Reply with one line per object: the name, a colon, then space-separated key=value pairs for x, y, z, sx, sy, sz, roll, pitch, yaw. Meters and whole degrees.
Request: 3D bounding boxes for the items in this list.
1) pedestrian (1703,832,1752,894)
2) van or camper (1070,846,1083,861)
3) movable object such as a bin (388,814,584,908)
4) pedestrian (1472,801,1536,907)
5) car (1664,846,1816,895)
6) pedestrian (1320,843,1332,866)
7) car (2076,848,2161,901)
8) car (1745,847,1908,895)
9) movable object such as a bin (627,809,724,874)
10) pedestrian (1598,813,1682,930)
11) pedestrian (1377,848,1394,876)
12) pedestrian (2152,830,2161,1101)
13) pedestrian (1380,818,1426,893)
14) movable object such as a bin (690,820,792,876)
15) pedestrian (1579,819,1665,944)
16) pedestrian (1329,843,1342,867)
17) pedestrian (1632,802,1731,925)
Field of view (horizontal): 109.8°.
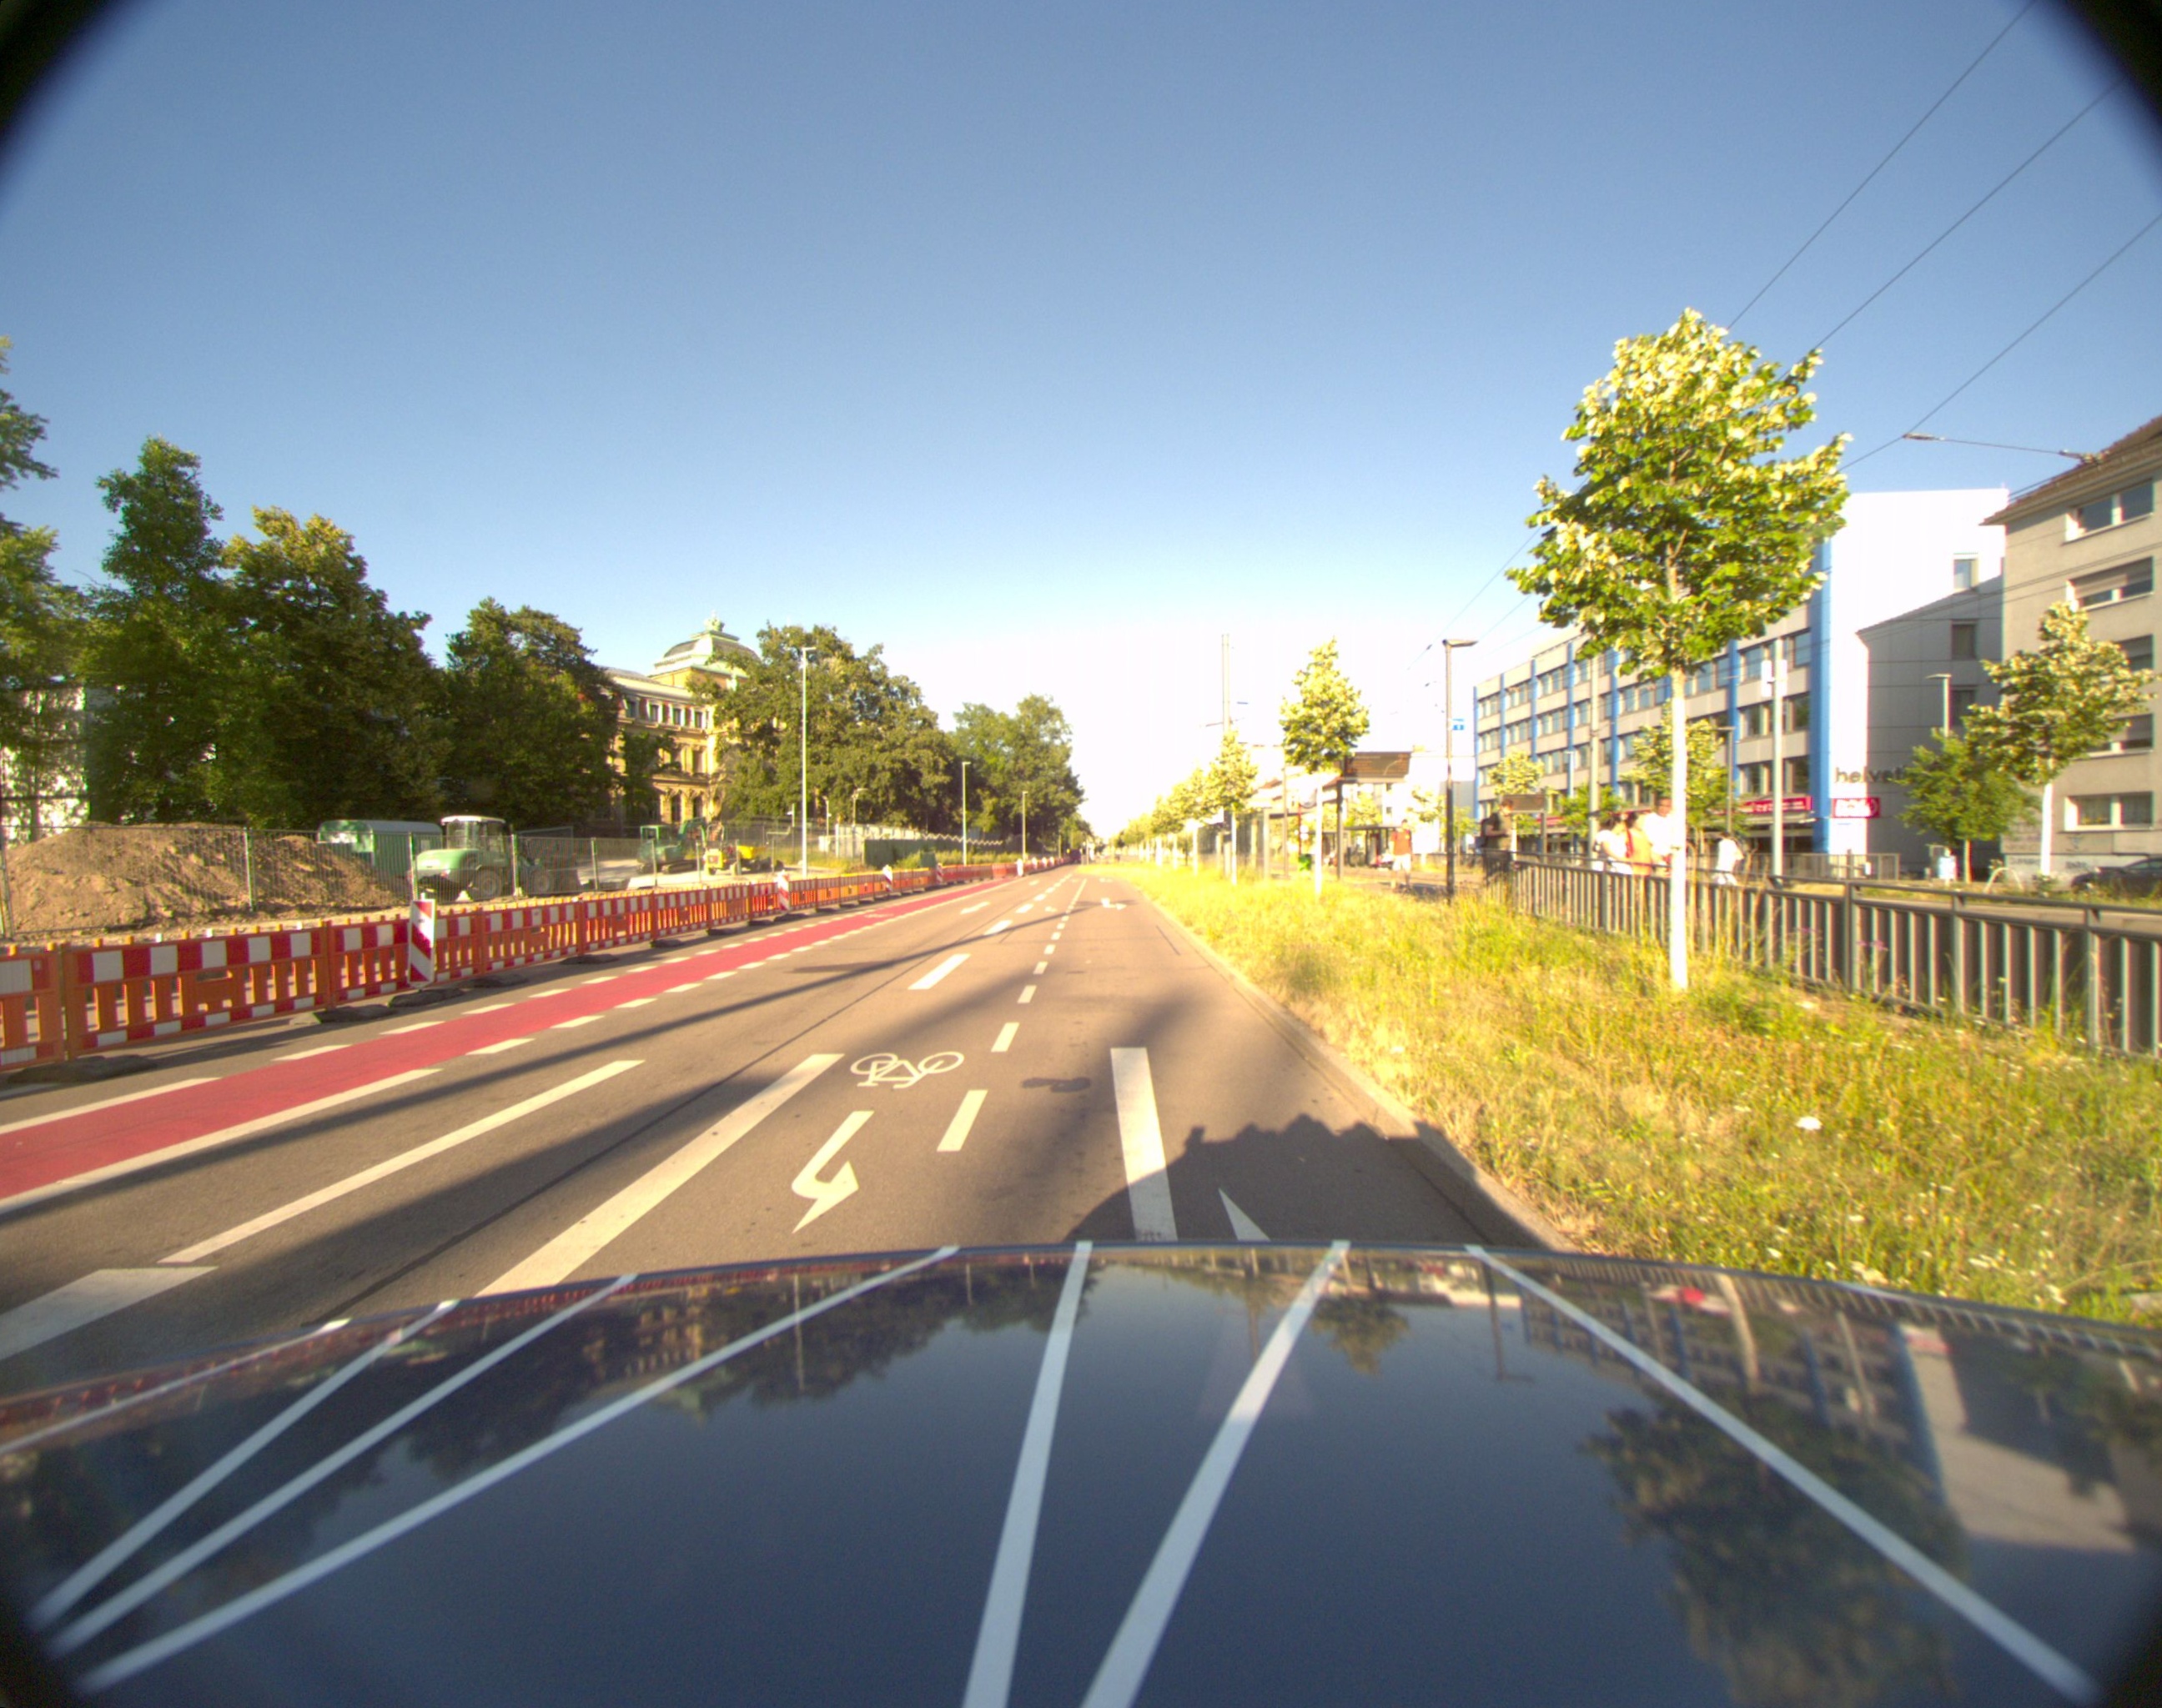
pedestrian: x=17.751 y=0.238 z=20.878 sx=0.787 sy=1.663 sz=0.619 roll=-2 pitch=1 yaw=4
van or camper: x=-0.697 y=-0.164 z=130.605 sx=1.998 sy=2.514 sz=5.913 roll=-2 pitch=1 yaw=1
movable object such as a bin: x=-19.048 y=0.172 z=24.732 sx=1.998 sy=2.668 sz=5.015 roll=-2 pitch=1 yaw=5
pedestrian: x=7.673 y=0.003 z=13.819 sx=0.787 sy=1.853 sz=0.619 roll=-2 pitch=1 yaw=4
car: x=22.816 y=0.518 z=26.539 sx=1.886 sy=1.499 sz=3.942 roll=-2 pitch=1 yaw=1
pedestrian: x=18.660 y=0.053 z=57.860 sx=0.659 sy=1.682 sz=0.772 roll=-2 pitch=1 yaw=4
car: x=33.133 y=0.624 z=22.757 sx=1.886 sy=1.499 sz=3.674 roll=-2 pitch=1 yaw=1
car: x=25.956 y=0.528 z=26.665 sx=1.886 sy=1.499 sz=3.942 roll=-2 pitch=1 yaw=1
movable object such as a bin: x=-22.430 y=-0.683 z=42.320 sx=1.998 sy=3.310 sz=5.376 roll=-2 pitch=1 yaw=5
pedestrian: x=7.046 y=0.212 z=9.591 sx=0.638 sy=1.423 sz=0.524 roll=-2 pitch=1 yaw=-2
pedestrian: x=18.264 y=0.475 z=45.615 sx=0.660 sy=1.682 sz=0.772 roll=-2 pitch=1 yaw=-1
pedestrian: x=6.431 y=0.619 z=3.956 sx=0.787 sy=1.527 sz=0.619 roll=-2 pitch=1 yaw=5
pedestrian: x=7.558 y=0.030 z=17.835 sx=0.787 sy=1.689 sz=0.619 roll=-2 pitch=1 yaw=4
movable object such as a bin: x=-18.650 y=-0.347 z=42.085 sx=1.997 sy=2.800 sz=5.871 roll=-2 pitch=1 yaw=11
pedestrian: x=6.514 y=0.319 z=9.172 sx=0.638 sy=1.447 sz=0.524 roll=-2 pitch=1 yaw=-1
pedestrian: x=18.600 y=0.080 z=55.556 sx=0.659 sy=1.682 sz=0.772 roll=-2 pitch=1 yaw=7
pedestrian: x=7.890 y=0.119 z=10.004 sx=0.787 sy=1.540 sz=0.619 roll=-2 pitch=1 yaw=4
